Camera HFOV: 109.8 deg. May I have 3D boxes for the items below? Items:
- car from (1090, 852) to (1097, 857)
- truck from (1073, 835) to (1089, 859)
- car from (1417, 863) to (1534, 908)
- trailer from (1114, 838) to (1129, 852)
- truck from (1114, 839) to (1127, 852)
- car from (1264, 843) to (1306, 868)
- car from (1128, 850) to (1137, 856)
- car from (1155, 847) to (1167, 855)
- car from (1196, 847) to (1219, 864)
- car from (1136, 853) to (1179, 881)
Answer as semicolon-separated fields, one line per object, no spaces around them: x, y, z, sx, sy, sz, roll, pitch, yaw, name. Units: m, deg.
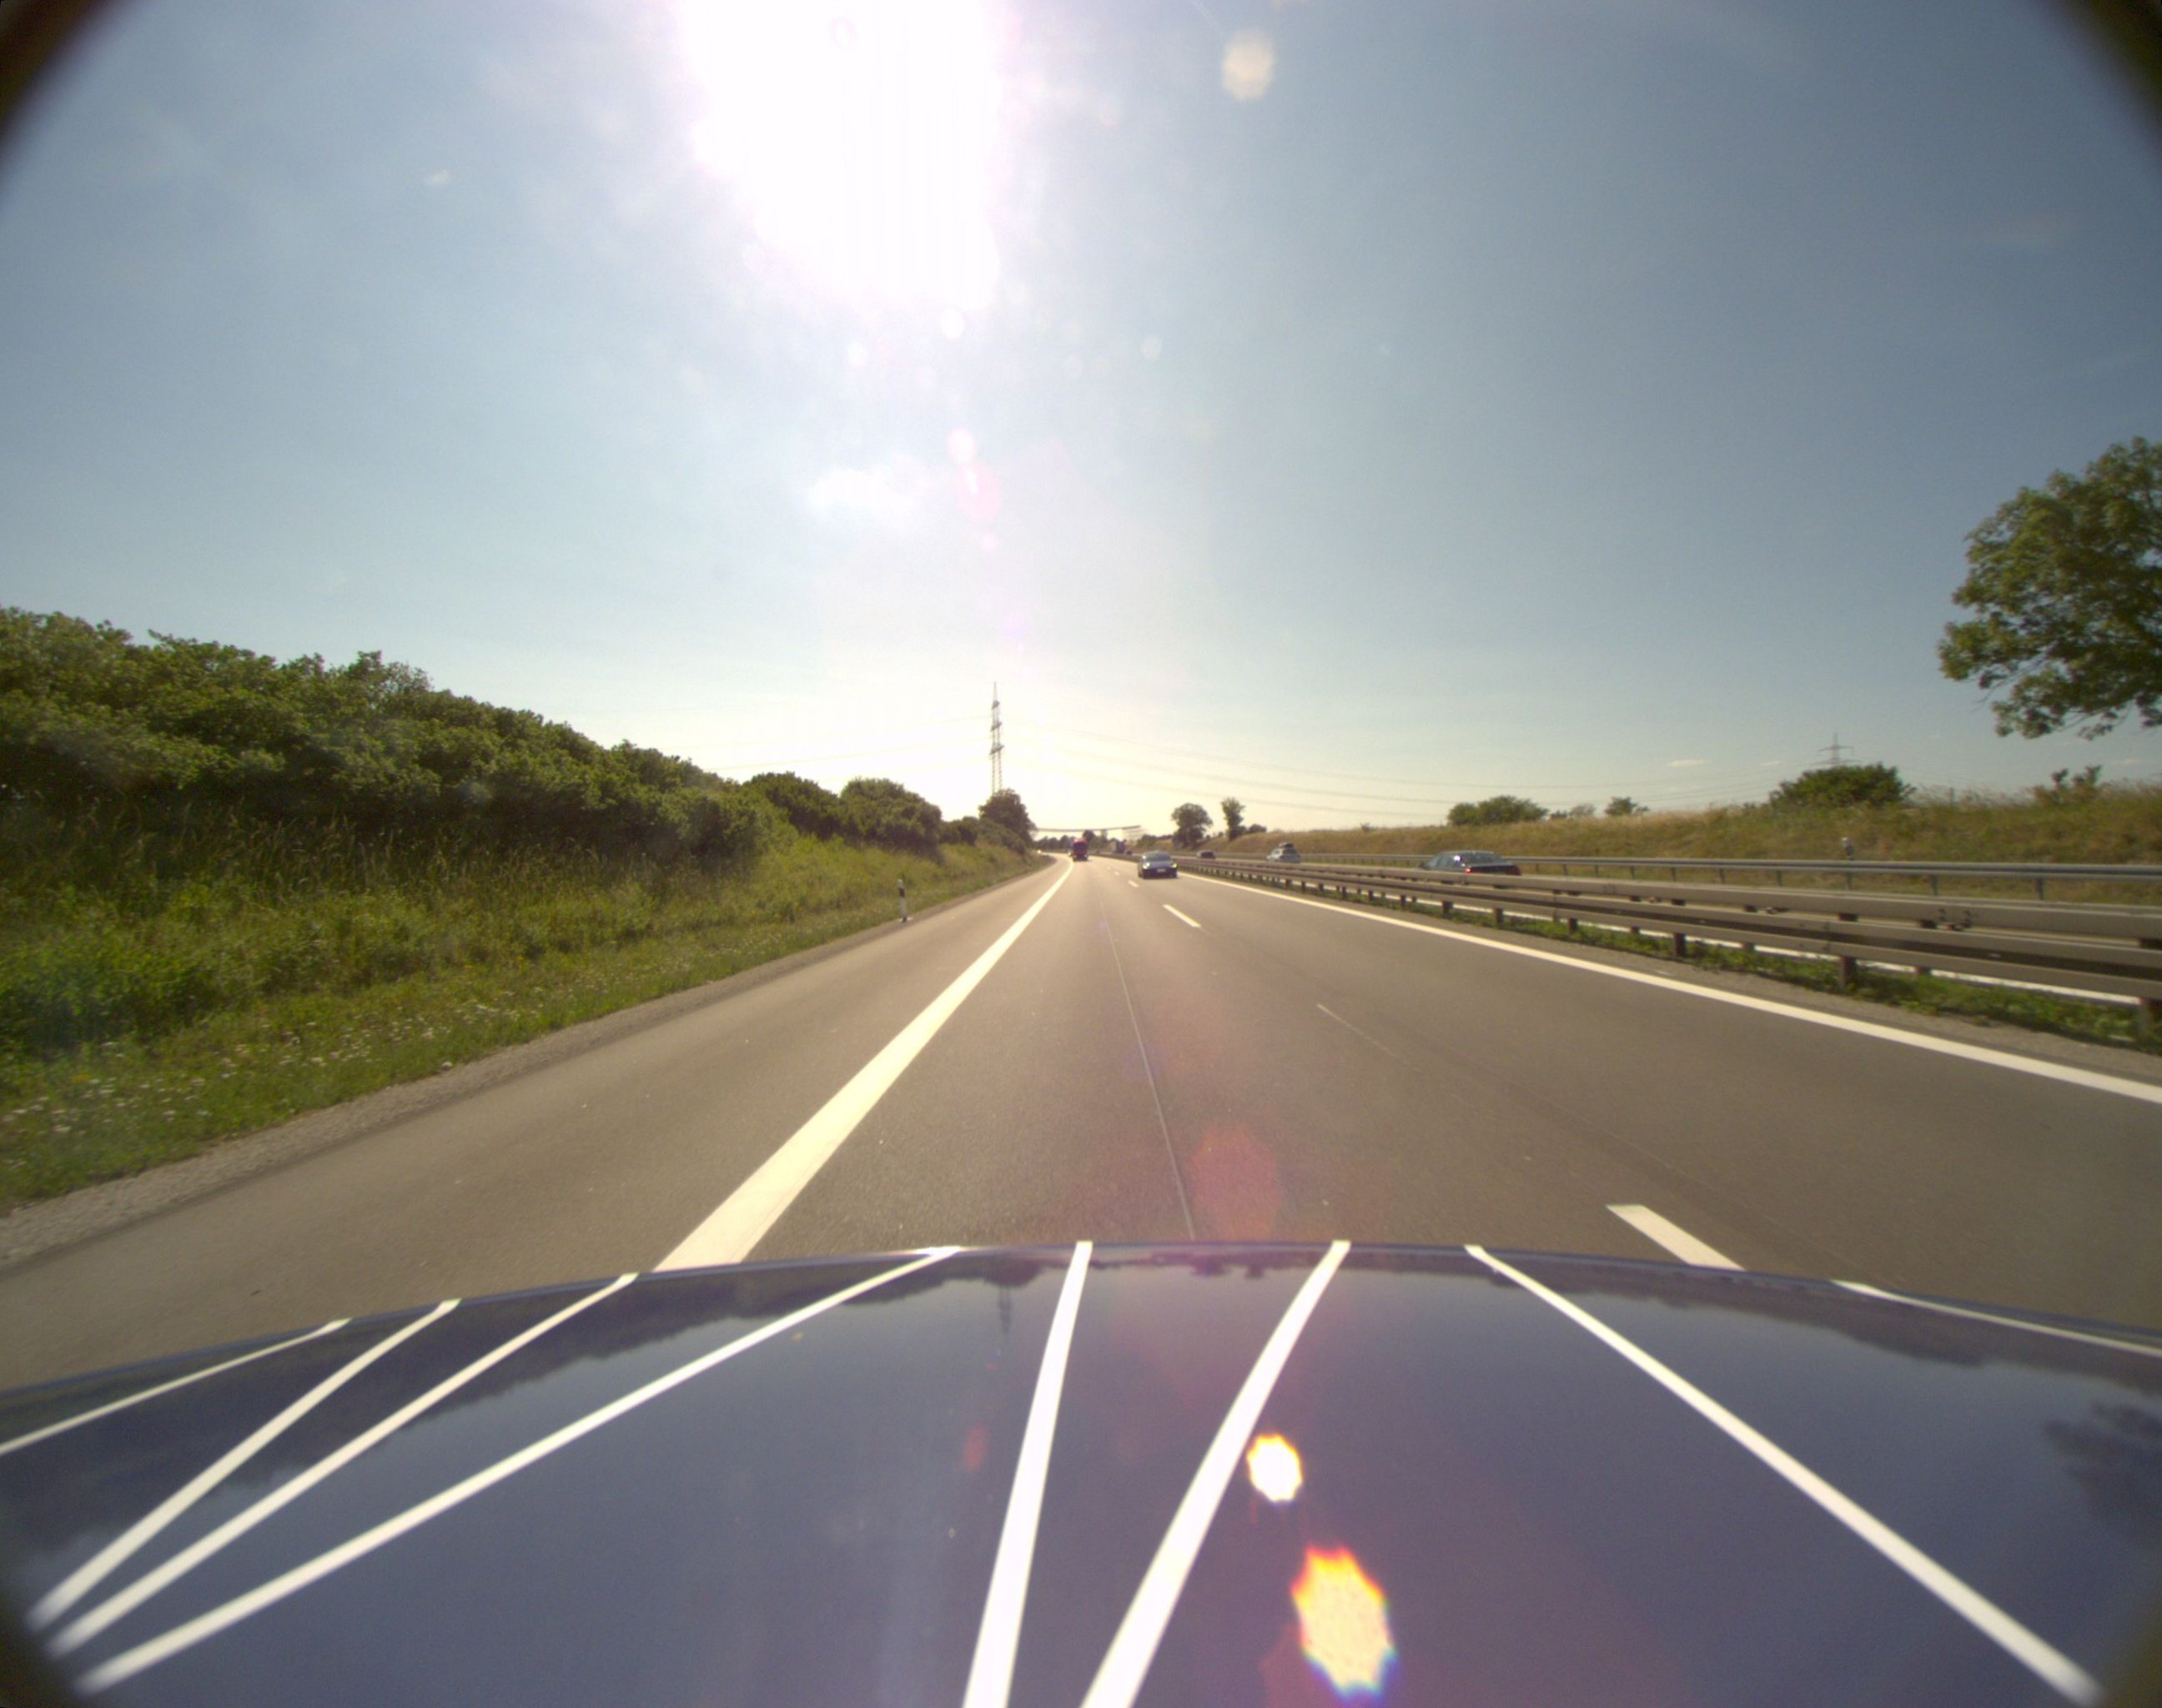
3.307;0.154;207.878;1.860;1.361;3.999;0;1;0;car
0.006;-1.270;133.837;2.571;3.939;8.642;-2;1;0;truck
11.548;0.879;22.509;1.526;1.150;3.765;-1;0;1;car
12.483;-2.687;234.115;3.624;3.976;14.045;-2;1;0;trailer
12.395;-2.724;241.688;3.624;3.976;6.122;-2;1;-1;truck
16.091;0.068;60.161;1.950;1.835;5.183;-2;1;1;car
13.841;-0.269;204.701;1.910;1.352;4.553;-2;1;0;car
15.256;-0.522;144.645;1.729;1.459;5.240;-2;1;0;car
12.469;0.140;74.913;1.620;1.522;4.000;-2;1;1;car
4.239;0.656;42.795;1.852;1.424;5.865;0;1;1;car
